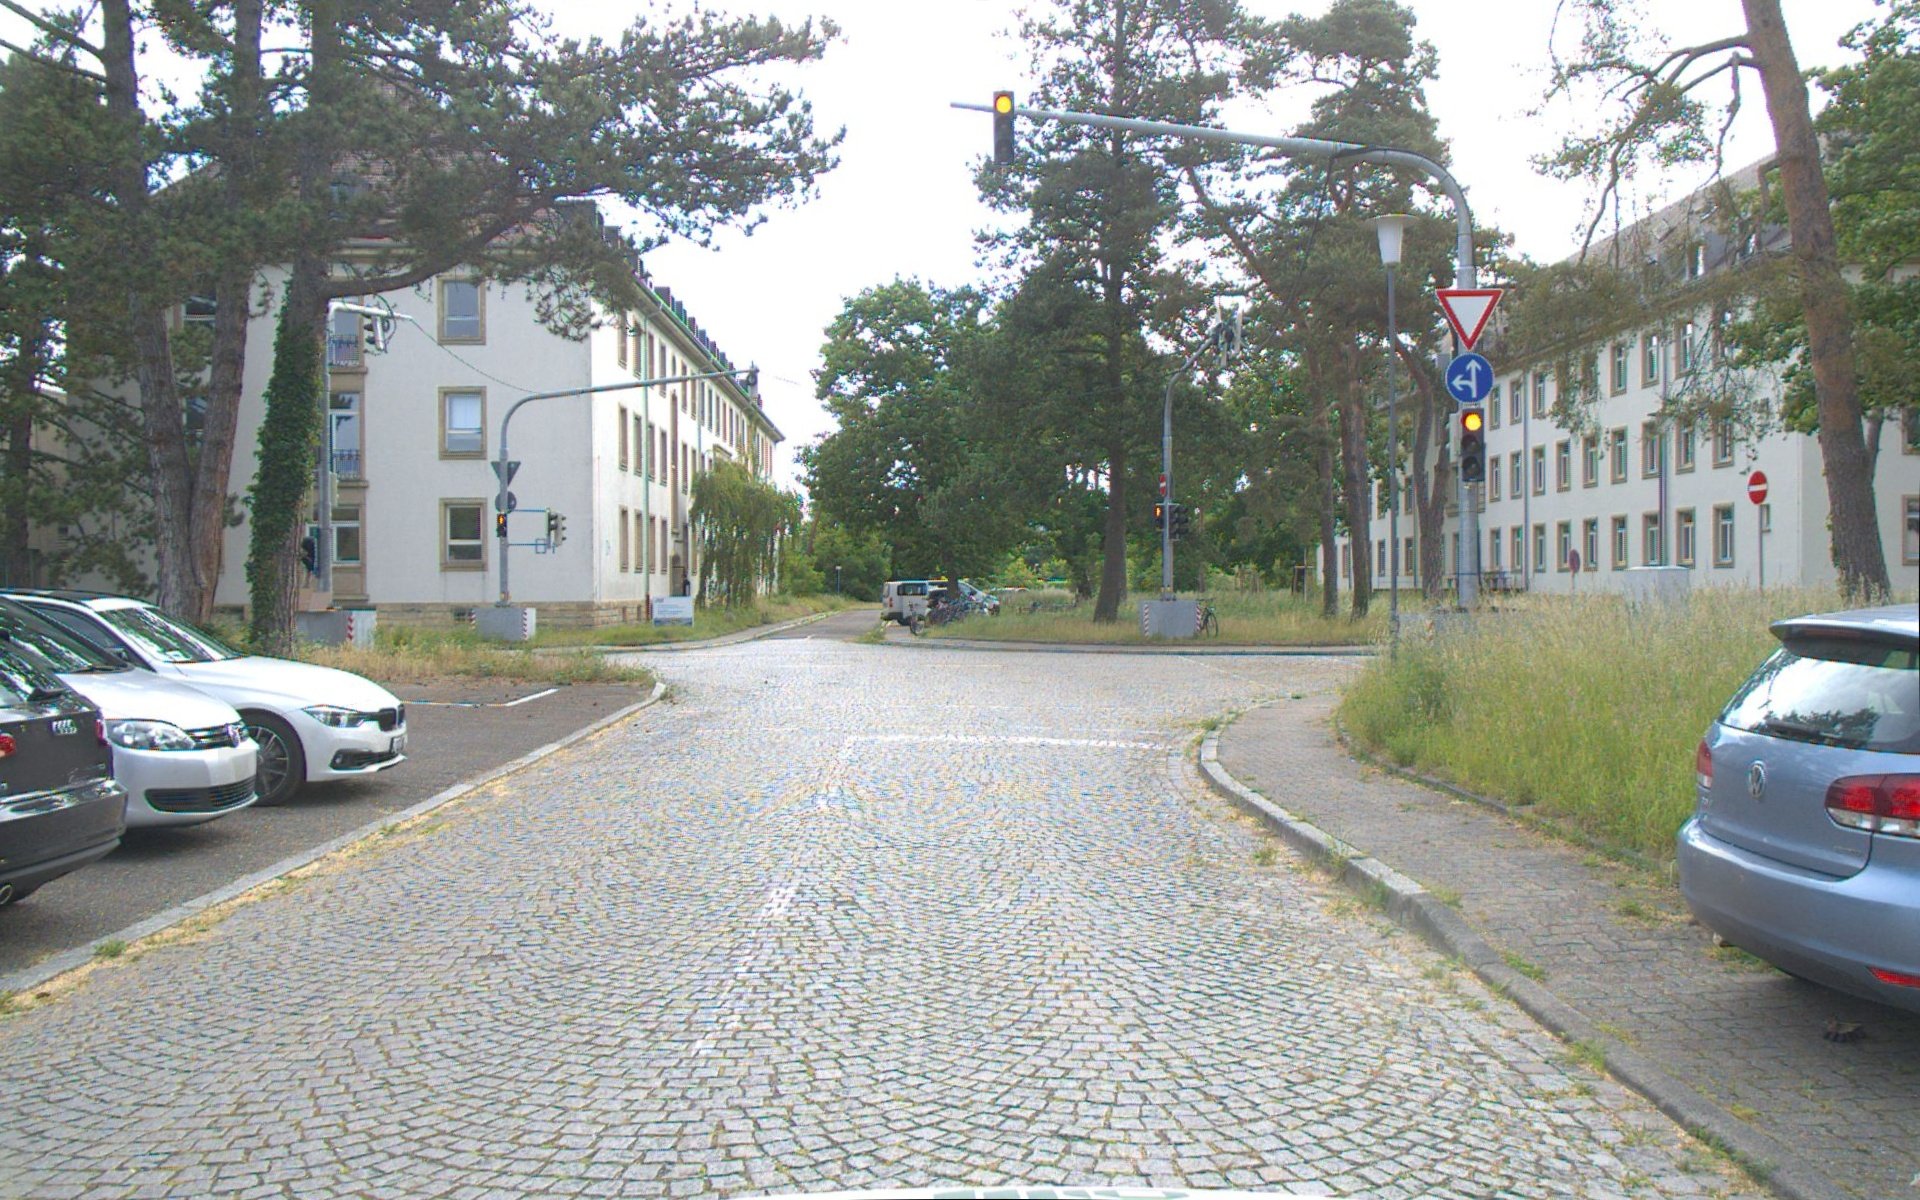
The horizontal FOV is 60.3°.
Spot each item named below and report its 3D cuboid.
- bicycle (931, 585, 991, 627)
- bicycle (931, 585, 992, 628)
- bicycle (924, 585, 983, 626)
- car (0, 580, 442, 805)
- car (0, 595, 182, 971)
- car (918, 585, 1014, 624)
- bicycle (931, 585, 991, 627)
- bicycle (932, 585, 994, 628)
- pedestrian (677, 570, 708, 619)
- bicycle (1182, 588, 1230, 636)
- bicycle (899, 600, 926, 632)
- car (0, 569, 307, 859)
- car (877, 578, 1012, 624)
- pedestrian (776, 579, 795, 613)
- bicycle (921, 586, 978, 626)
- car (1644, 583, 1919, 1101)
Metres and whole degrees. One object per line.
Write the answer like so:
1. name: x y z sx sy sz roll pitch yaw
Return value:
1. bicycle: 0.026 0.208 56.778 2.027 1.402 0.620 0 0 -1
2. bicycle: 0.050 0.207 55.357 2.027 1.402 0.620 0 0 -1
3. bicycle: -0.213 0.201 57.572 2.027 1.402 0.620 0 0 -1
4. car: -6.426 0.625 12.311 4.557 1.469 1.800 2 0 -5
5. car: -5.754 0.669 7.139 3.907 1.452 1.750 2 0 -2
6. car: 0.235 0.186 69.211 3.856 1.571 1.998 0 0 -6
7. bicycle: 0.034 0.208 55.981 2.027 1.402 0.620 0 0 -1
8. bicycle: 0.106 0.209 54.687 2.027 1.402 0.620 0 0 -1
9. pedestrian: -11.327 -0.217 69.951 1.064 2.049 1.022 0 0 4
10. bicycle: 6.315 0.306 42.545 0.890 1.197 1.873 0 0 -2
11. bicycle: -1.518 0.511 52.857 0.605 0.980 2.078 0 0 6
12. car: -6.229 0.589 9.918 3.910 1.574 1.722 2 0 -6
13. car: -0.709 0.022 72.562 5.594 1.944 2.222 -1 0 -14
14. pedestrian: -10.728 -0.240 101.650 0.938 2.049 0.796 0 0 8
15. bicycle: -0.377 0.200 59.054 2.027 1.402 0.620 0 0 -1
16. car: 4.510 0.651 5.630 3.687 1.451 1.605 -2 1 -2
